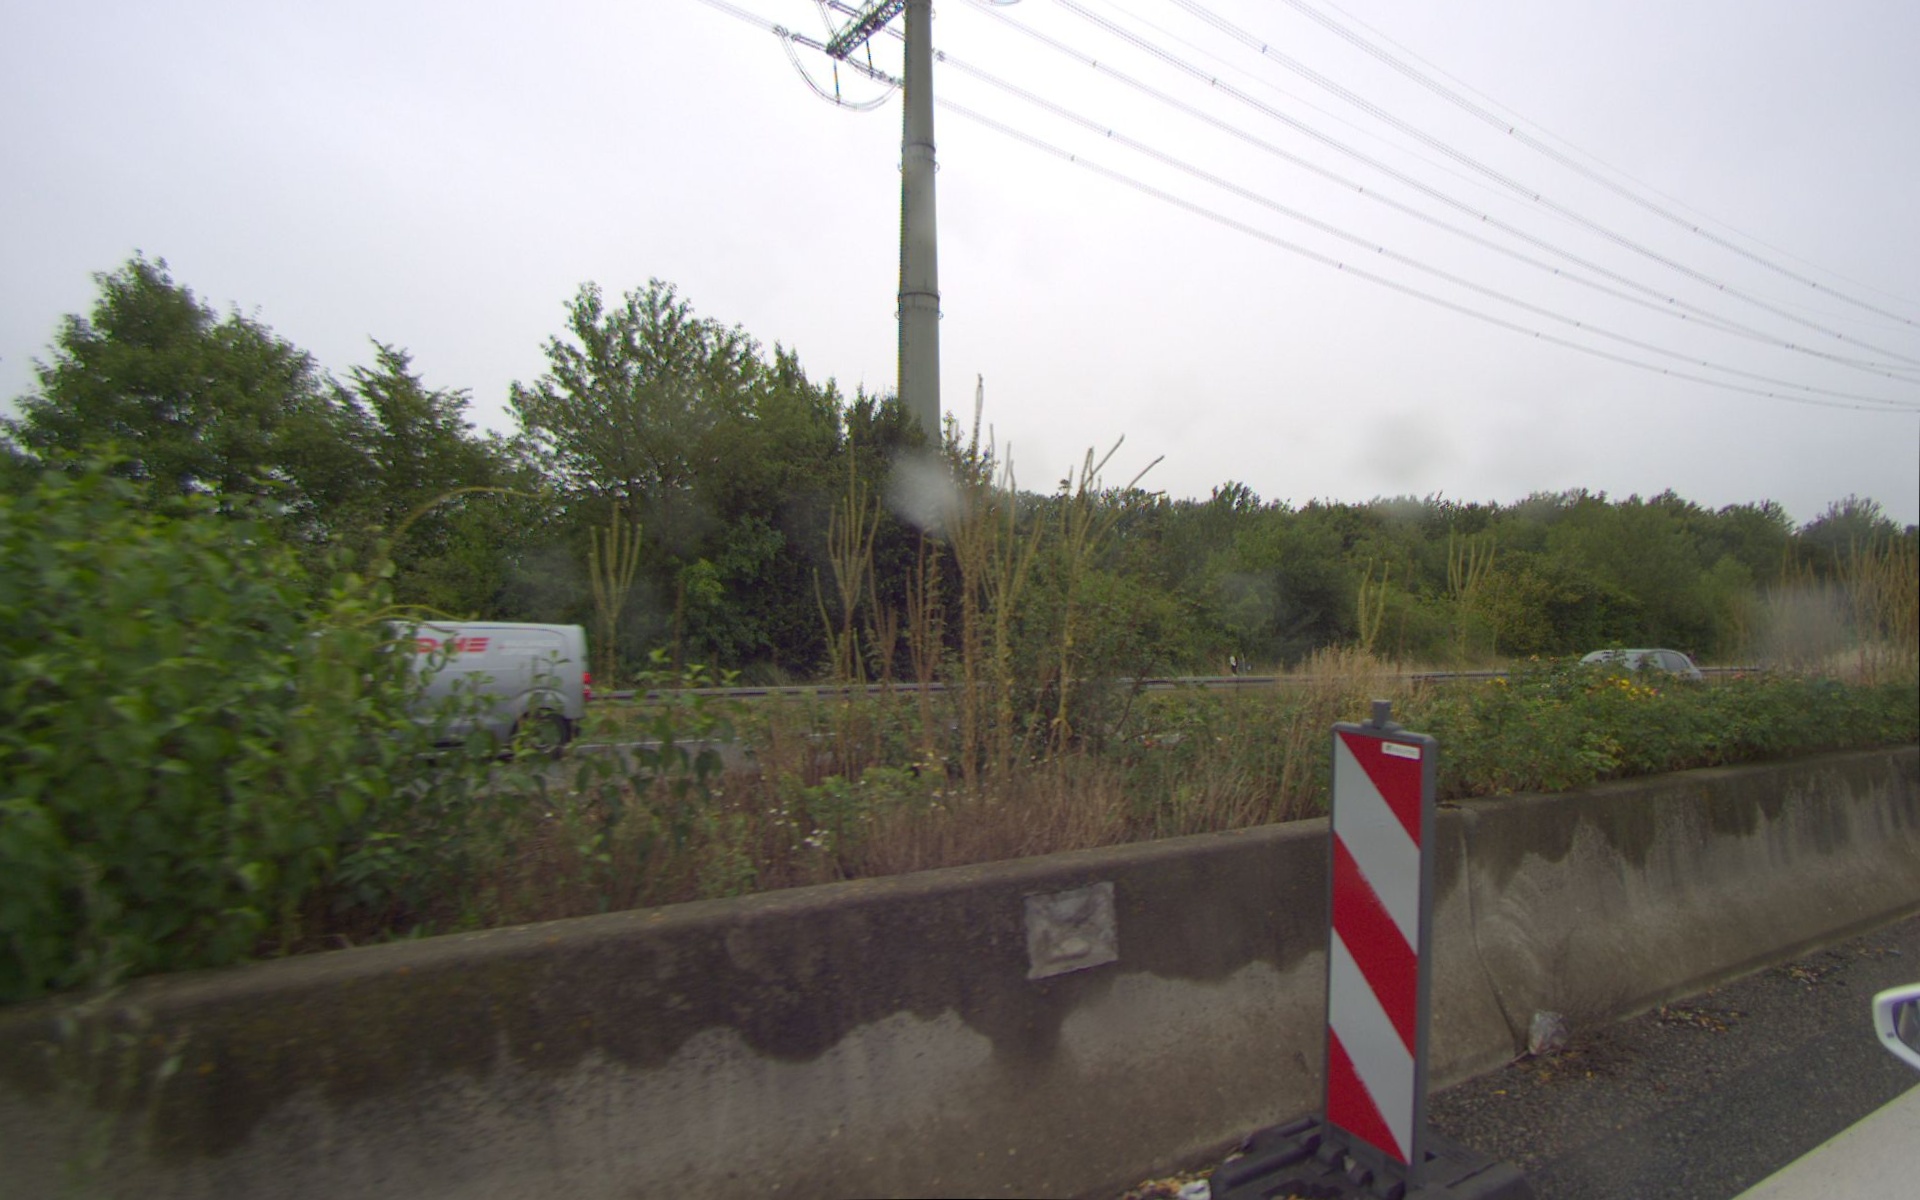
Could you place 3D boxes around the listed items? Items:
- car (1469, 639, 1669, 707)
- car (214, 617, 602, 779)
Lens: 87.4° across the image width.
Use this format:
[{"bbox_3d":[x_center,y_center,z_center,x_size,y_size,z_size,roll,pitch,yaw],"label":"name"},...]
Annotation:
[{"bbox_3d":[12.434,1.447,20.460,4.112,1.201,1.724,2,-1,-30],"label":"car"},{"bbox_3d":[-7.099,1.207,13.275,4.219,1.848,1.693,2,-3,-31],"label":"car"}]
